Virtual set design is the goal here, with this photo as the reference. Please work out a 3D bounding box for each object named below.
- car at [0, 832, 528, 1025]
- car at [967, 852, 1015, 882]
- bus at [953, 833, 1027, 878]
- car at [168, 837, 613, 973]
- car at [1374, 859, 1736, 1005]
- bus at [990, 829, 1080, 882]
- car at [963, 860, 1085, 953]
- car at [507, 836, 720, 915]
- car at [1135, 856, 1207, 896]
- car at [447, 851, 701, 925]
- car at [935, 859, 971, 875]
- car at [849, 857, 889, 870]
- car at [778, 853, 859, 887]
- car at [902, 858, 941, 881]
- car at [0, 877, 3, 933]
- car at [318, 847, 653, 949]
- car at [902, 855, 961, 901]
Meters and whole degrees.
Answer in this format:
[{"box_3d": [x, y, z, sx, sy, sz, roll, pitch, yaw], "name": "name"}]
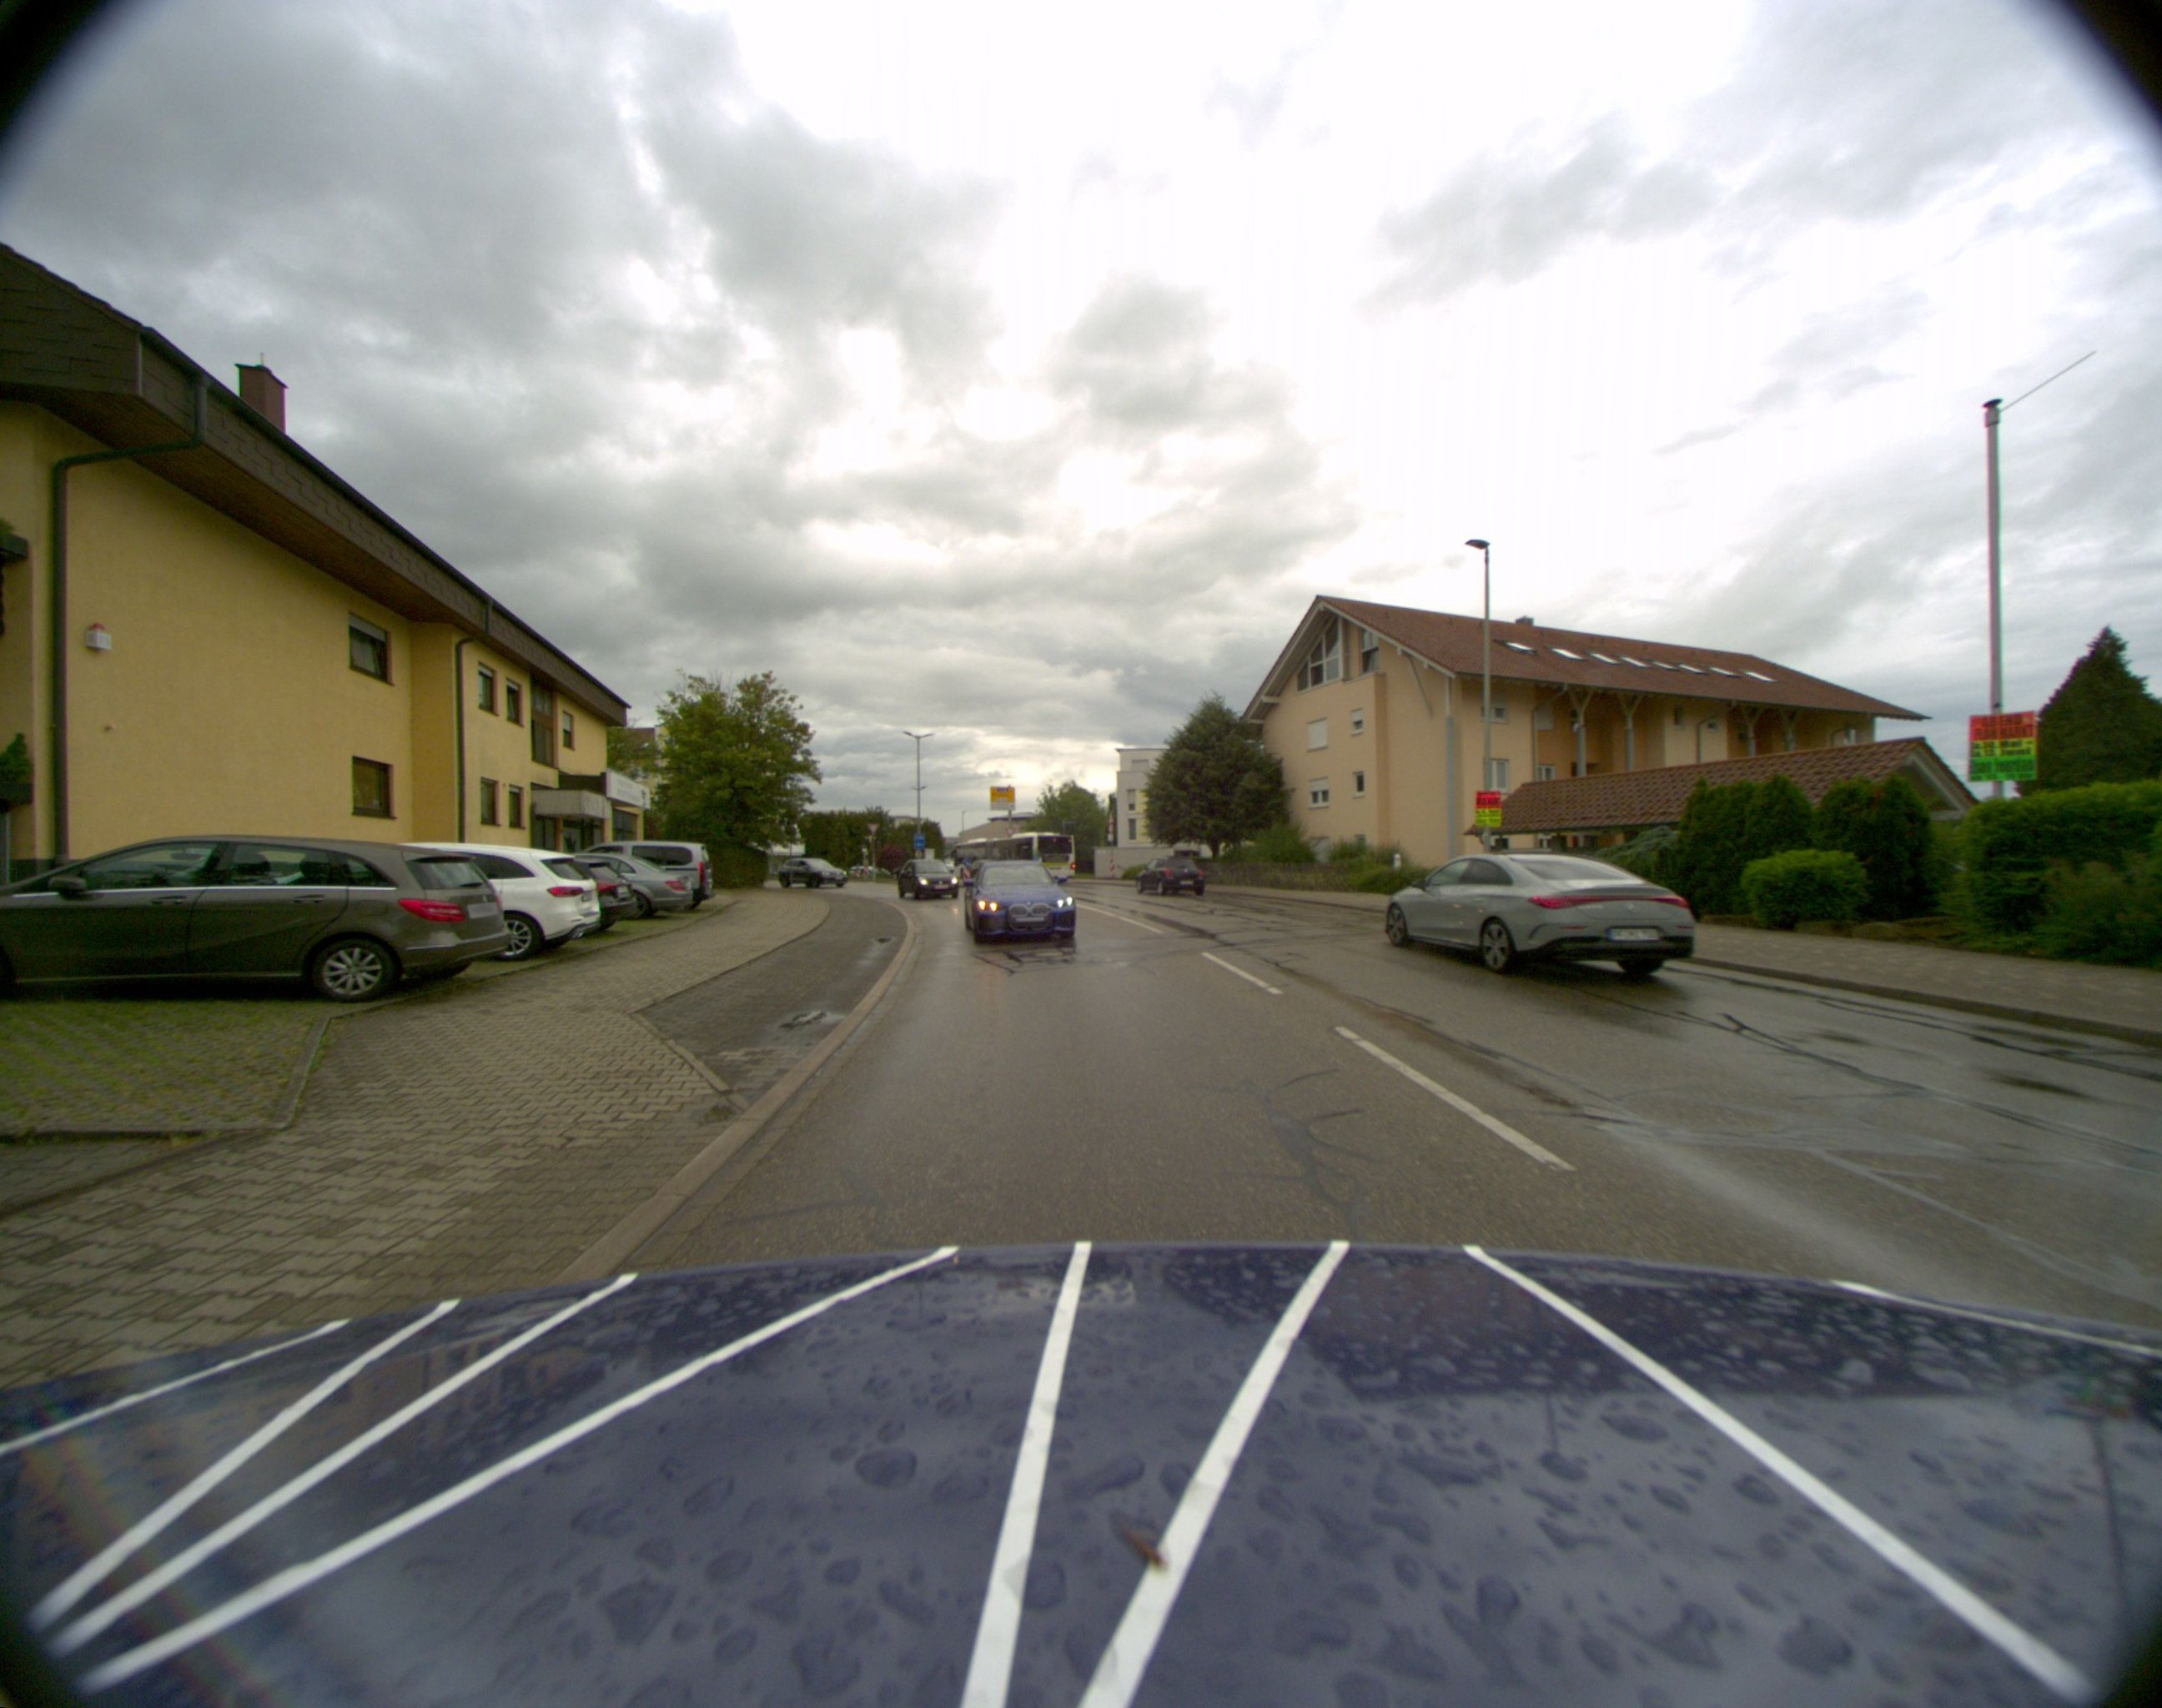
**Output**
[{"box_3d": [-8.318, 0.693, 7.584, 4.061, 1.587, 1.902, 3, 0, -18], "name": "car"}, {"box_3d": [-5.199, 0.705, 43.518, 1.868, 1.509, 4.284, 1, 0, -19], "name": "car"}, {"box_3d": [-6.697, 0.164, 54.723, 2.558, 2.982, 9.185, 1, -1, -25], "name": "bus"}, {"box_3d": [-9.052, 0.699, 10.469, 4.062, 1.587, 1.892, 3, 0, -19], "name": "car"}, {"box_3d": [5.656, 0.800, 9.919, 1.906, 1.383, 4.488, -2, 0, 0], "name": "car"}, {"box_3d": [-3.010, 0.116, 46.727, 2.597, 2.982, 8.388, 1, -1, -25], "name": "bus"}, {"box_3d": [-1.285, 0.899, 15.122, 1.915, 1.487, 4.344, -1, 0, -11], "name": "car"}, {"box_3d": [-11.895, 0.570, 19.688, 4.312, 1.770, 1.901, 3, 0, -19], "name": "car"}, {"box_3d": [3.397, 0.816, 29.348, 1.593, 1.413, 3.691, -2, 0, -12], "name": "car"}, {"box_3d": [-11.055, 0.755, 16.950, 4.379, 1.415, 1.692, 3, 0, -19], "name": "car"}, {"box_3d": [-13.576, 1.382, 80.967, 1.995, 1.630, 4.006, 0, 0, 21], "name": "car"}, {"box_3d": [-24.348, 1.118, 87.167, 3.990, 1.455, 2.003, 0, 0, 23], "name": "car"}, {"box_3d": [-14.735, 0.859, 42.566, 4.295, 1.740, 1.972, 0, 3, 32], "name": "car"}, {"box_3d": [-11.886, 1.118, 56.404, 1.960, 1.510, 4.164, -1, 2, -25], "name": "car"}, {"box_3d": [-5.892, 0.761, 1.454, 4.356, 1.587, 1.764, 3, 0, -11], "name": "car"}, {"box_3d": [-9.935, 0.740, 13.088, 4.060, 1.481, 1.902, 3, 0, -15], "name": "car"}, {"box_3d": [-5.949, 0.877, 29.937, 1.749, 1.511, 3.992, -2, 3, -19], "name": "car"}]
